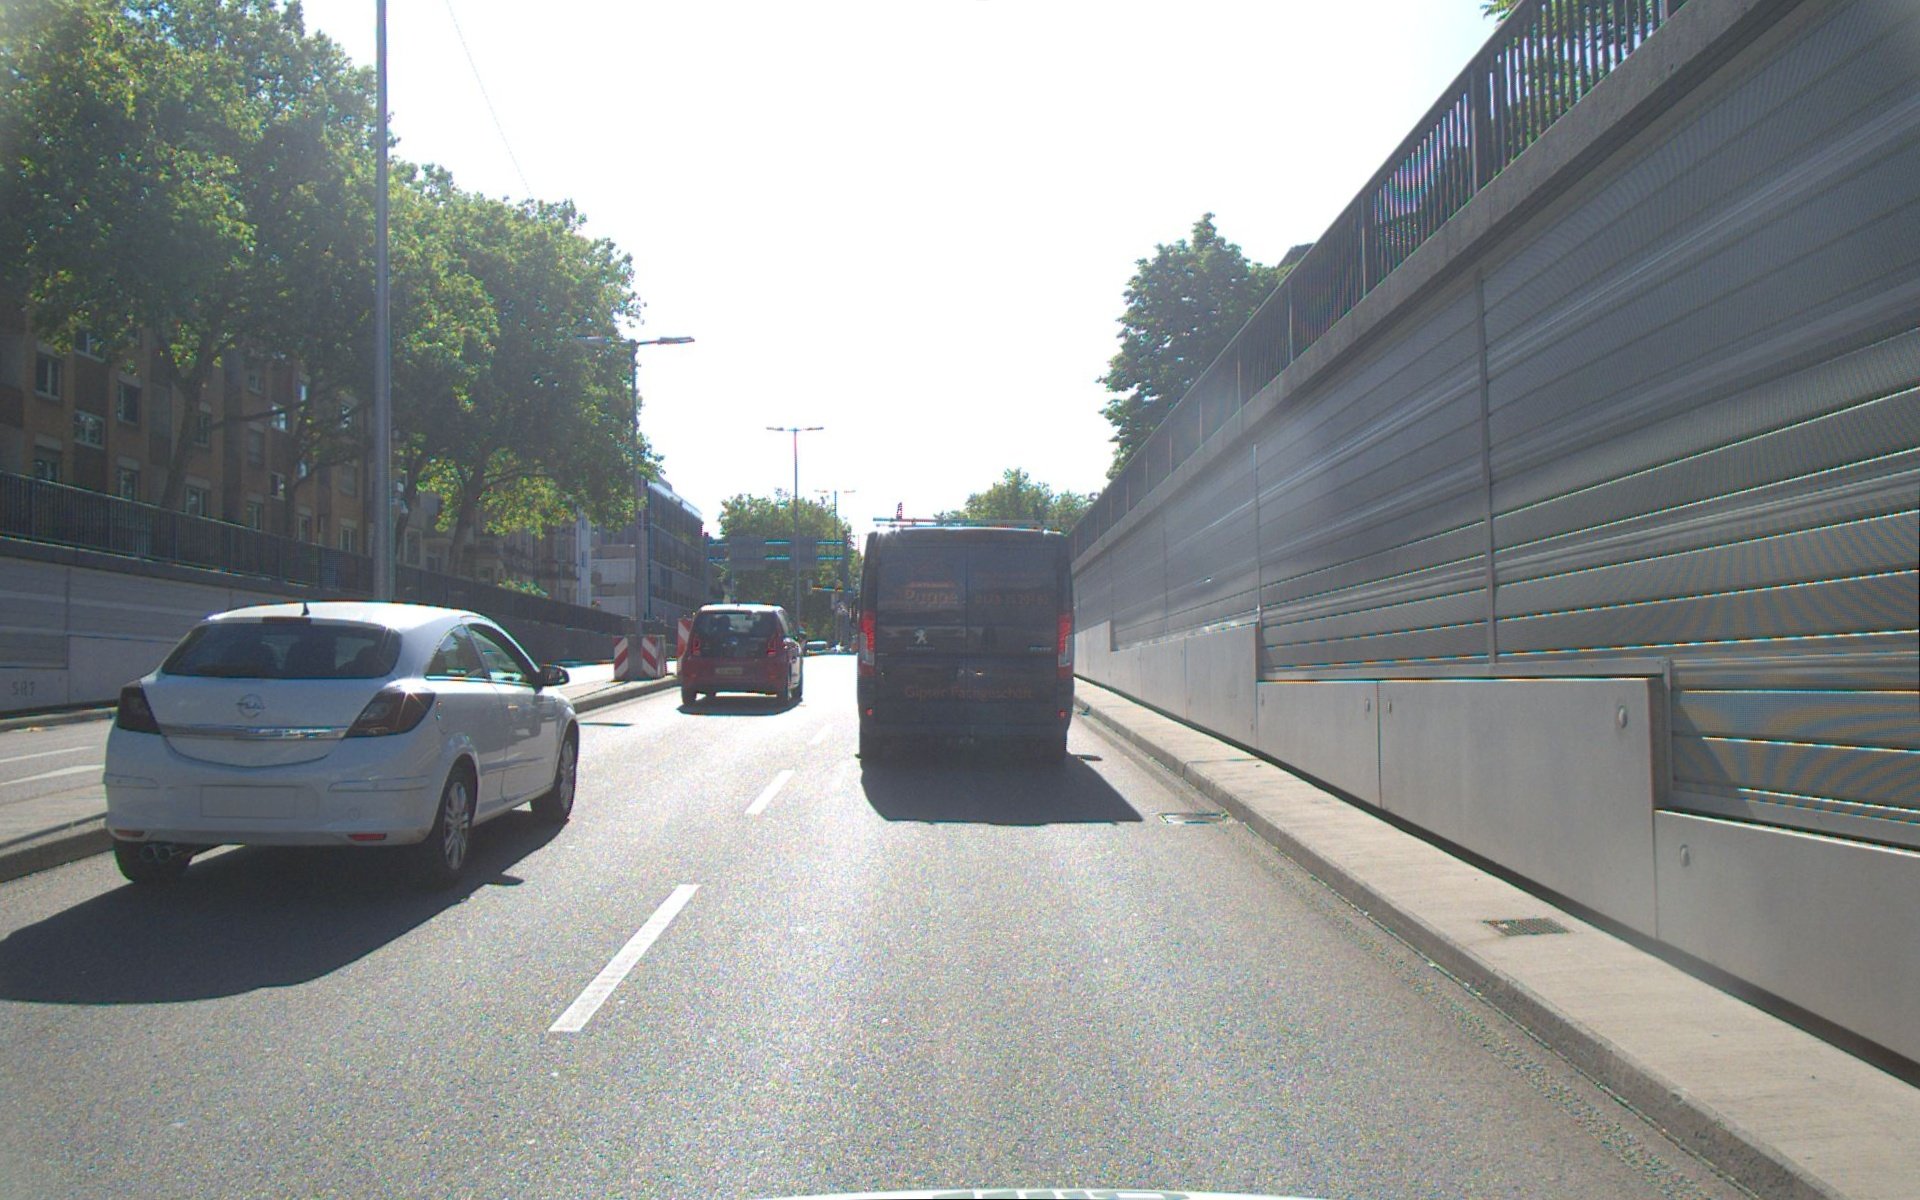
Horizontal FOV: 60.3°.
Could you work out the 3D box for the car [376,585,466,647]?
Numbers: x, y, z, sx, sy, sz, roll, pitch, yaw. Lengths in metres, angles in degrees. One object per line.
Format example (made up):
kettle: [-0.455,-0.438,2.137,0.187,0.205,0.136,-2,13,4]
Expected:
car: [-22.396,0.715,68.956,1.953,2.401,5.418,1,-2,0]

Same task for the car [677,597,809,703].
car: [-3.280,0.720,25.492,1.655,1.509,3.317,1,0,-1]

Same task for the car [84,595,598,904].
car: [-3.308,0.734,9.656,1.586,1.428,3.850,1,-1,-1]

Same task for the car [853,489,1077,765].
car: [0.016,0.278,16.656,1.989,2.445,3.971,0,-1,-1]
